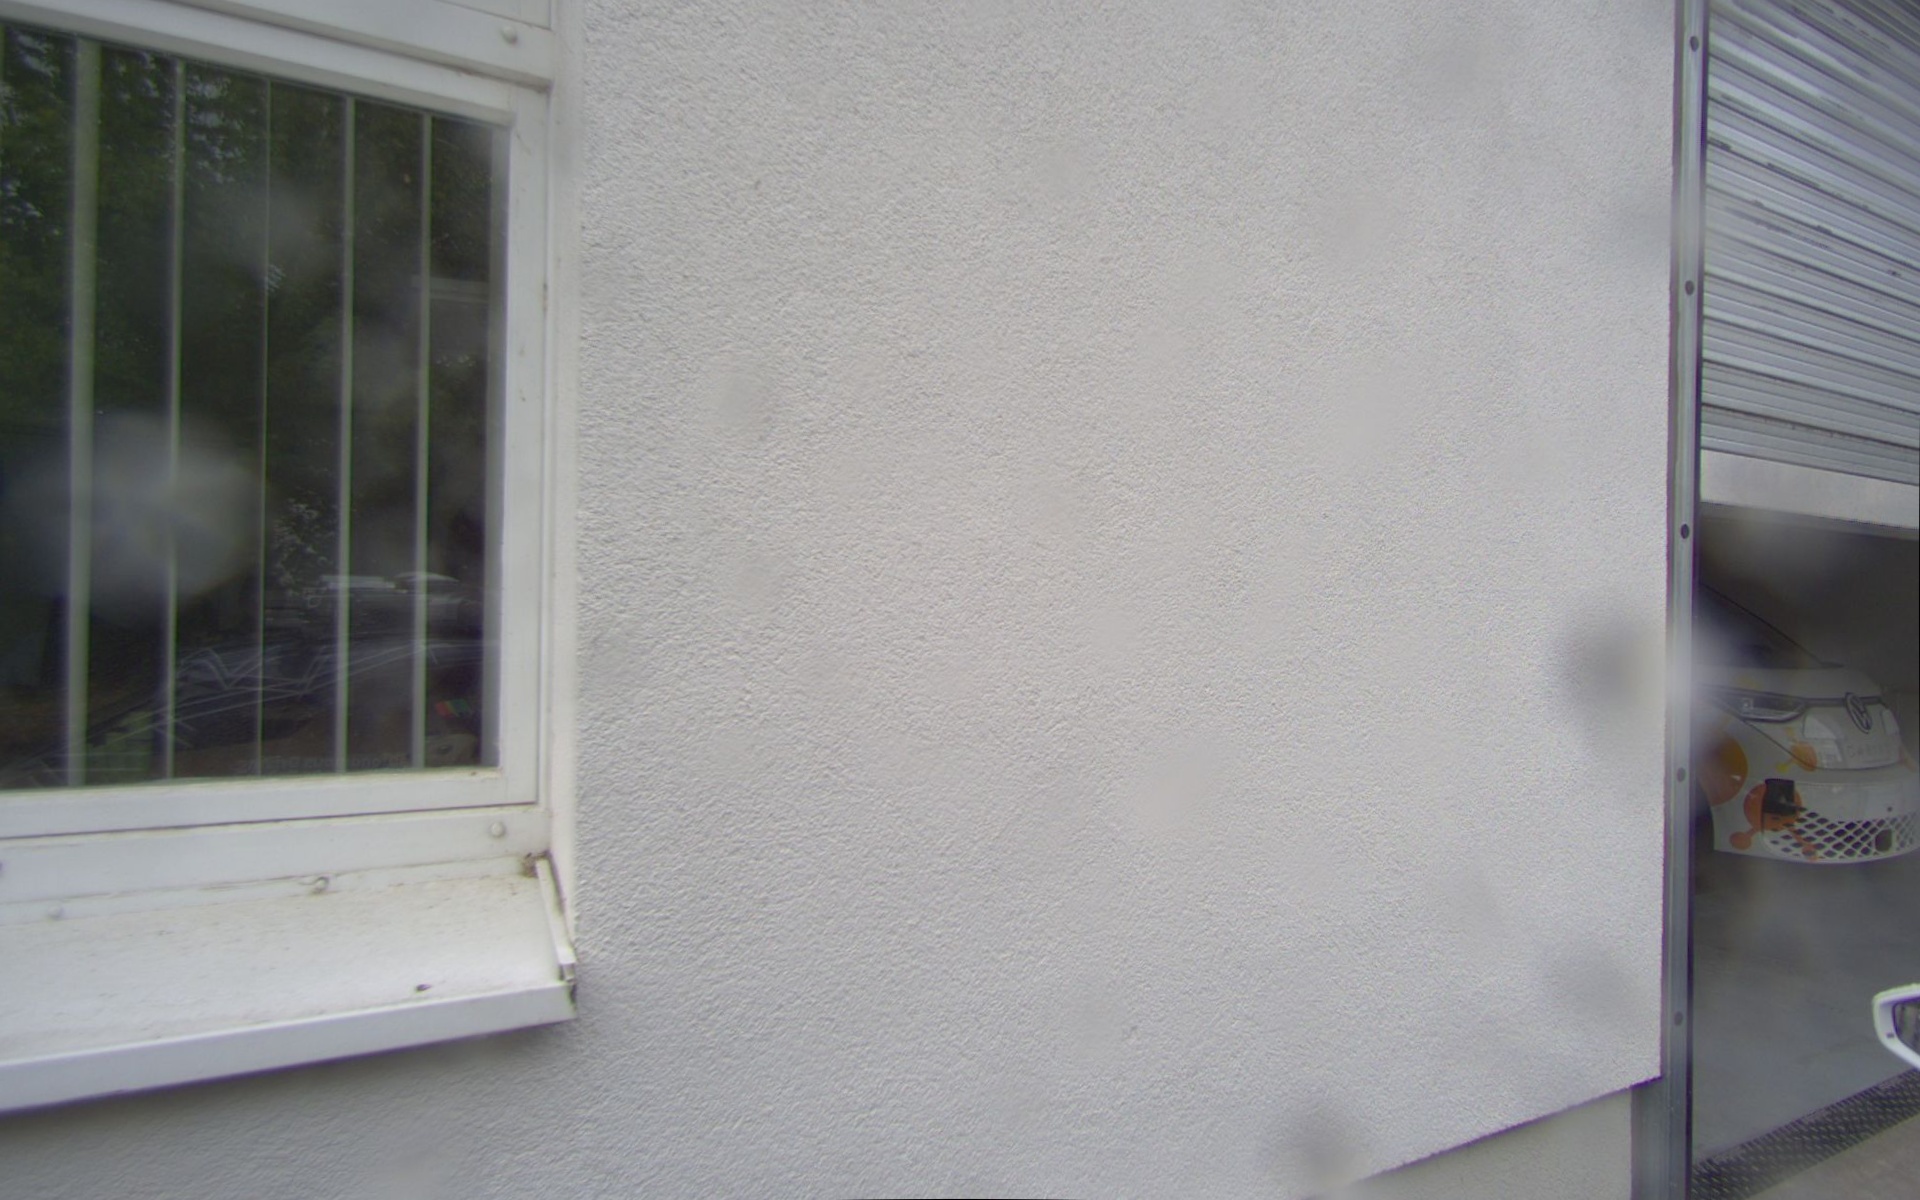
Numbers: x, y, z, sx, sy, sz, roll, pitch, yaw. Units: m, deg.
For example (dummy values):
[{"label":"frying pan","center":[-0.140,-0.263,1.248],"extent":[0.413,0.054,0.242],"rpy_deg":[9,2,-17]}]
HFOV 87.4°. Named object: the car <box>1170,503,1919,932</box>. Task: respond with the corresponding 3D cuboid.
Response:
[{"label":"car","center":[3.857,0.553,7.341],"extent":[2.058,2.040,4.672],"rpy_deg":[1,0,-27]}]
